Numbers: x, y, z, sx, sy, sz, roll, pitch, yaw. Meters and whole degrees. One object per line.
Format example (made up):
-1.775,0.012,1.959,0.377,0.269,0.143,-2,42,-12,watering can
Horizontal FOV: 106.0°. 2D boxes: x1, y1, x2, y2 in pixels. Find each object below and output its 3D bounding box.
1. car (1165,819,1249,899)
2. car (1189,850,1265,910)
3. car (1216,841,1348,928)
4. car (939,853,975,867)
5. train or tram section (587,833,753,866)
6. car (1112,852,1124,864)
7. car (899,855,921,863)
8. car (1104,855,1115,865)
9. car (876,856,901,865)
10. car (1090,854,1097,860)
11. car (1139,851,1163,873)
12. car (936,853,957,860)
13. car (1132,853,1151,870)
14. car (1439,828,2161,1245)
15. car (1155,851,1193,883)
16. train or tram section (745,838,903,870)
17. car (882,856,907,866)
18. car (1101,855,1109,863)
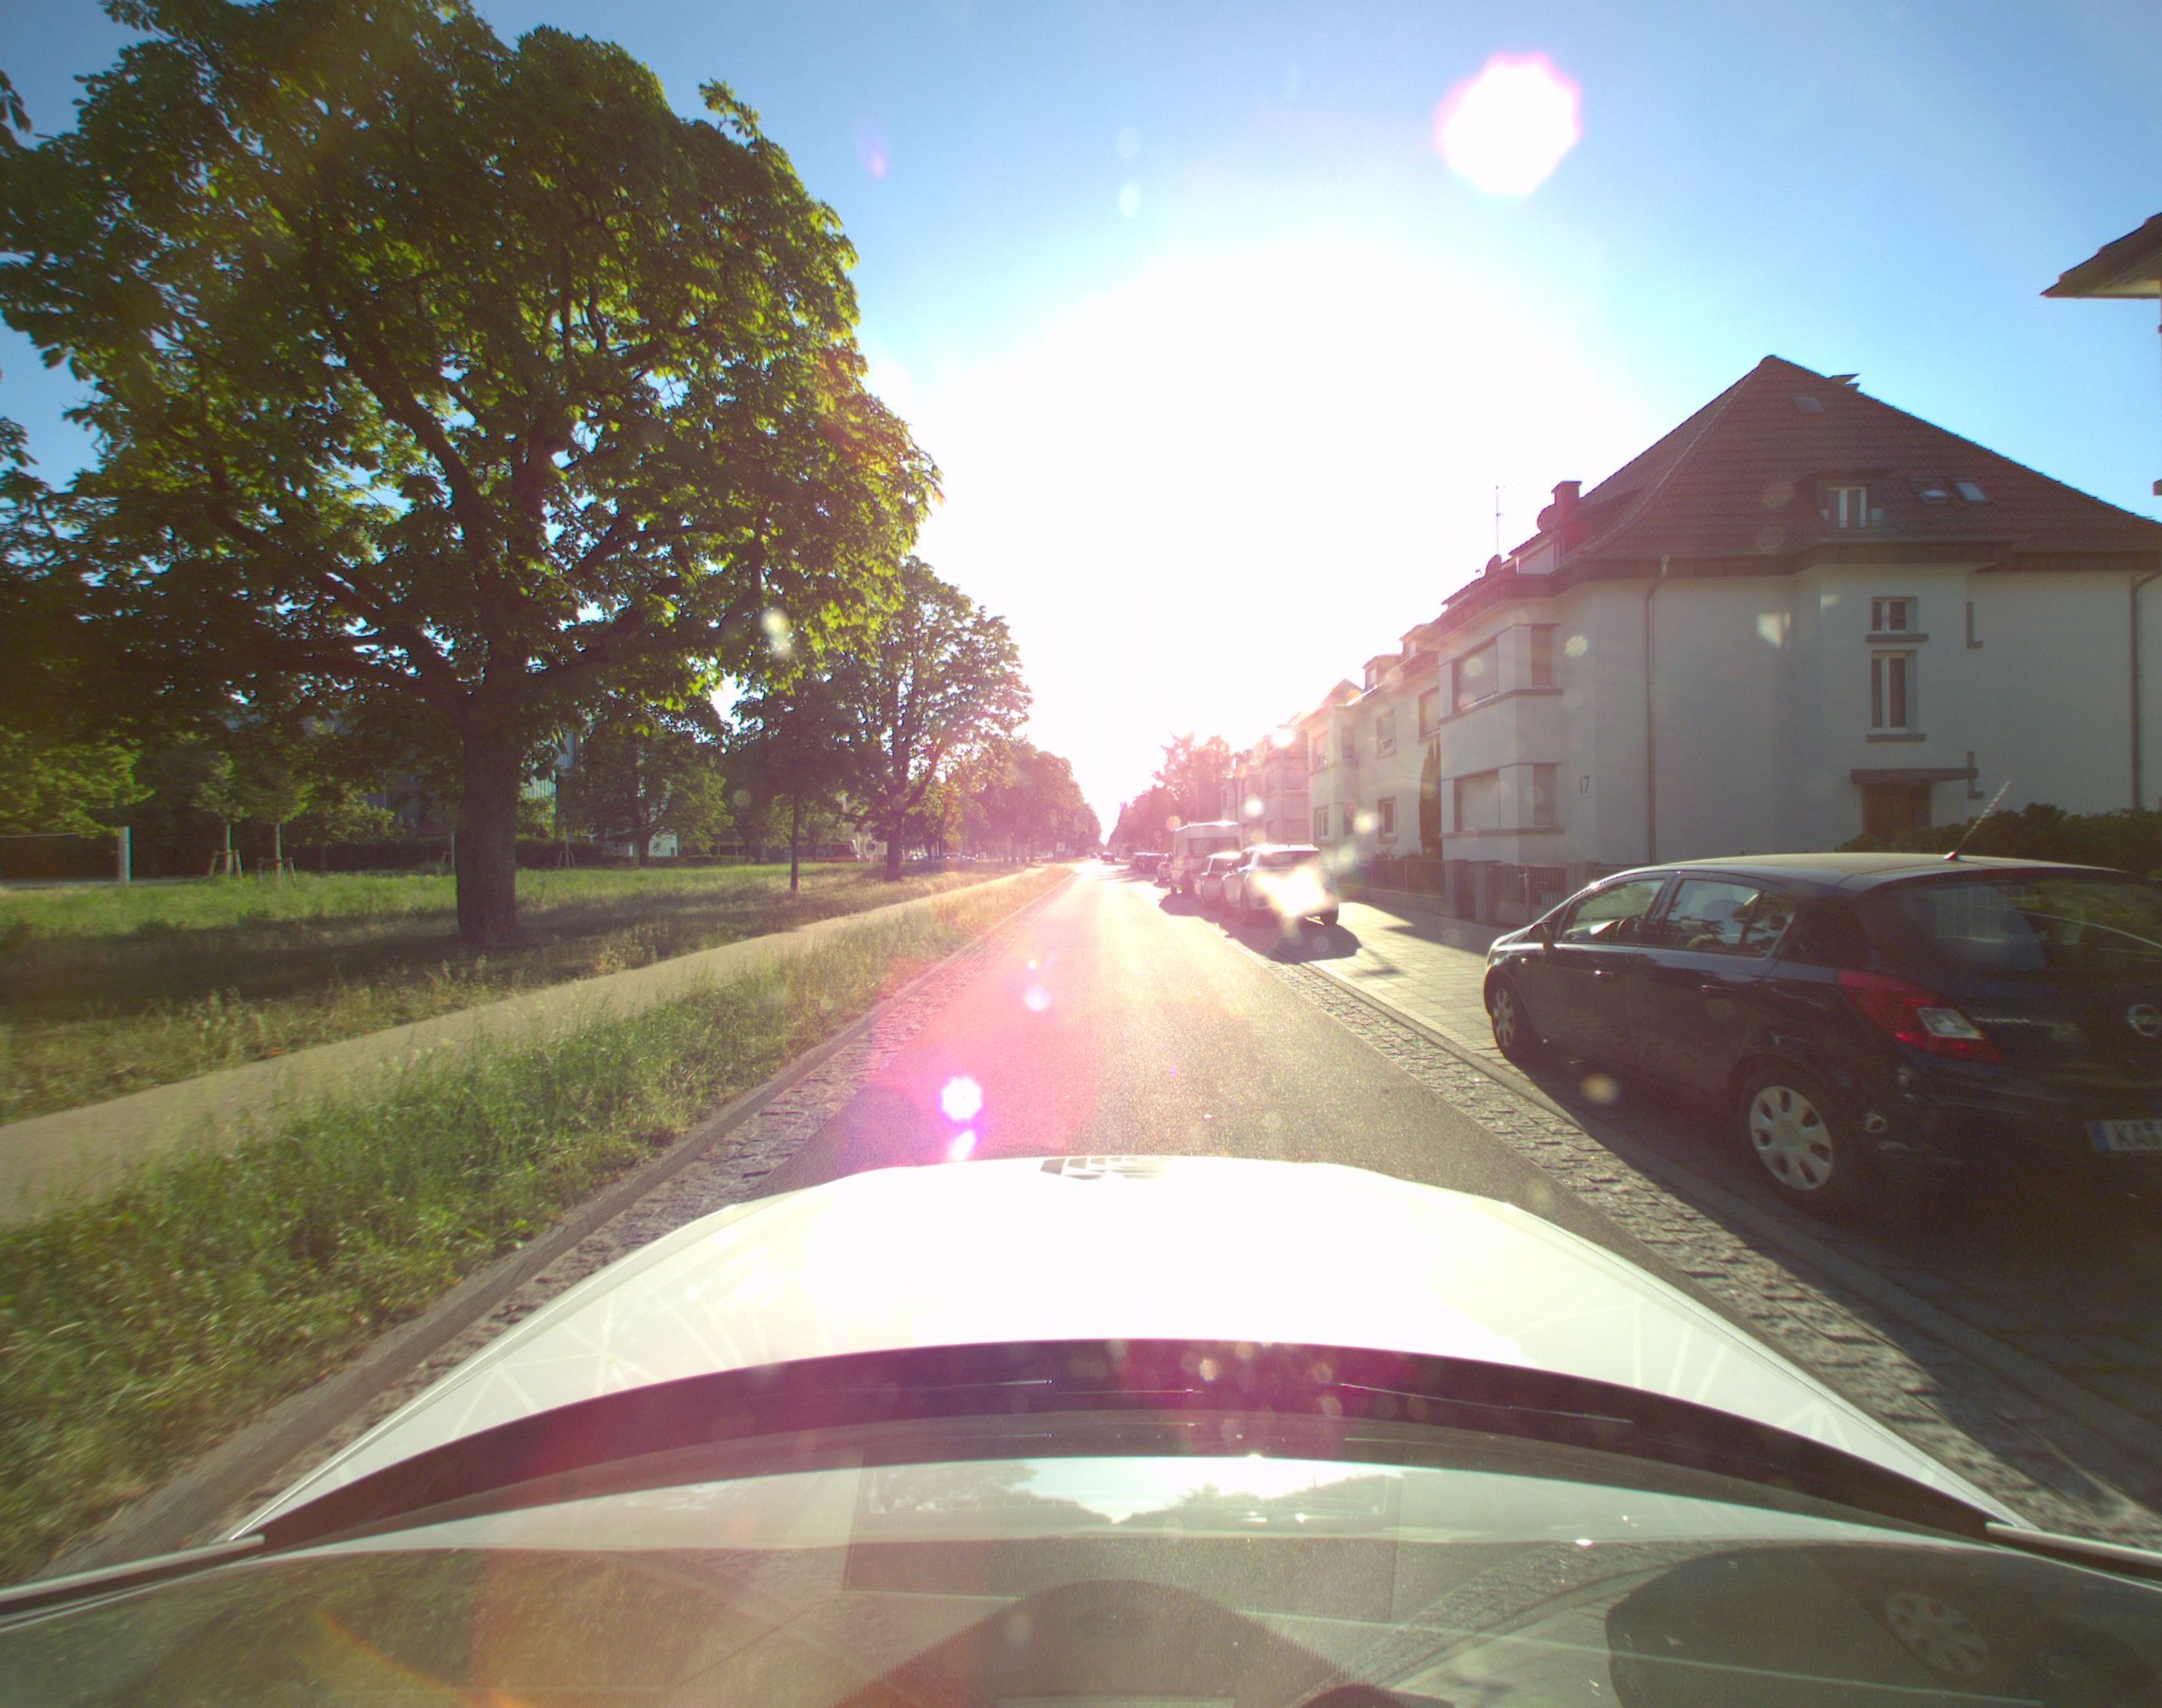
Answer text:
4.362,0.158,29.073,2.120,2.532,5.187,-2,0,0,car
4.071,0.662,23.206,1.643,1.530,3.854,-2,0,3,car
4.209,0.579,17.725,1.831,1.636,4.131,-2,0,0,car
-15.620,0.734,102.600,4.342,1.764,1.995,1,-1,-7,car
-53.528,-0.573,106.708,19.063,3.956,3.633,1,-1,-9,train or tram section
5.306,0.565,116.753,1.643,1.530,3.854,-2,0,3,car
-37.297,1.157,178.045,4.329,1.764,2.001,1,-1,2,car
4.744,0.971,134.961,1.643,1.530,3.854,-2,0,3,car
-37.244,1.209,157.885,4.329,1.764,2.001,1,-1,2,car
3.607,0.893,232.086,1.803,1.530,3.854,-2,0,3,car
5.226,0.598,60.907,1.643,1.530,3.854,-2,0,3,car
-31.533,0.610,191.043,4.329,1.764,2.001,1,-1,2,car
5.756,0.675,77.770,1.643,1.530,3.854,-2,0,3,car
3.826,0.662,4.909,1.615,1.411,3.970,-4,-1,2,car
4.735,0.628,41.682,1.643,1.530,3.854,-2,0,3,car
-34.276,0.089,109.573,19.771,3.956,3.633,1,-1,-8,train or tram section
-37.495,1.409,163.840,4.329,1.764,2.001,1,-1,2,car
4.959,1.026,169.031,1.643,1.530,3.854,-2,0,3,car
